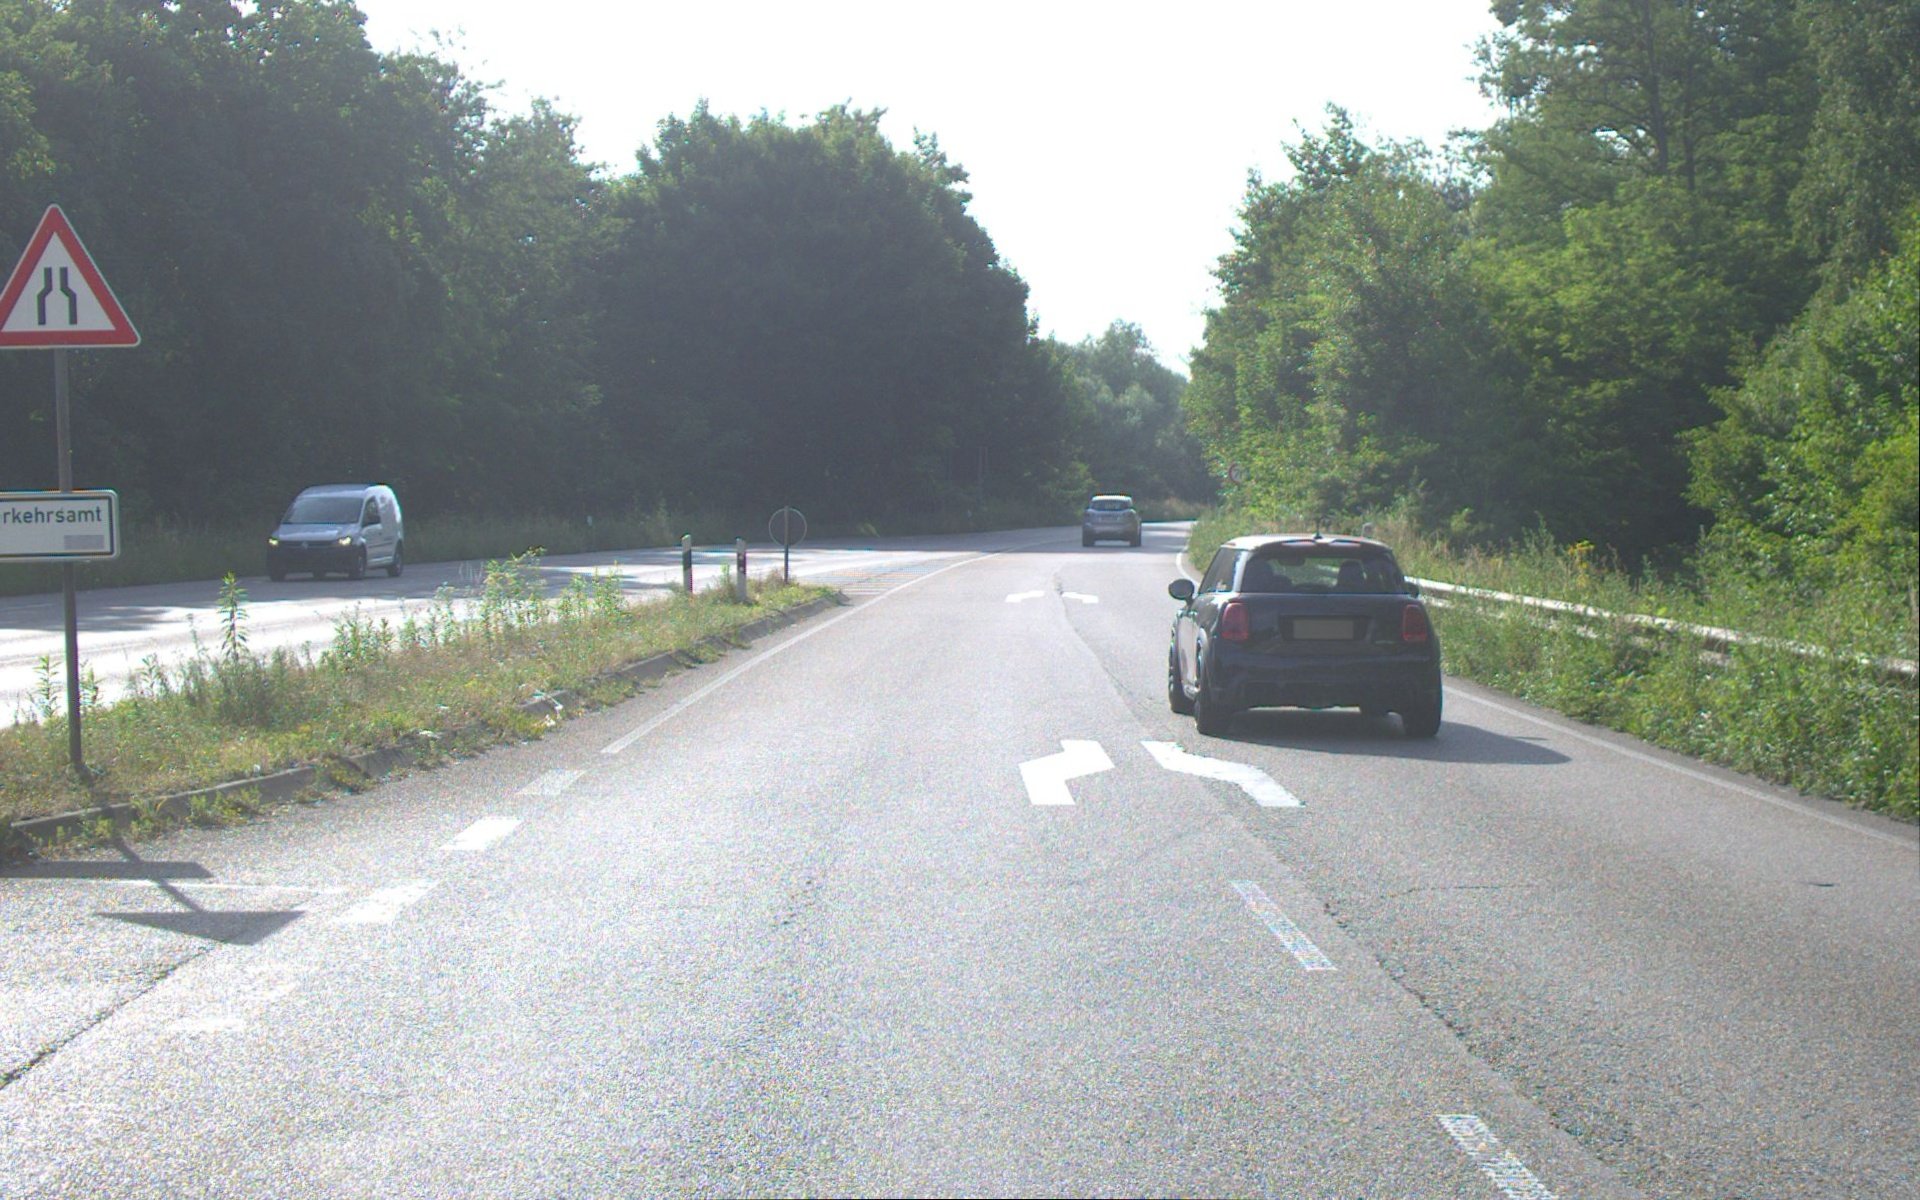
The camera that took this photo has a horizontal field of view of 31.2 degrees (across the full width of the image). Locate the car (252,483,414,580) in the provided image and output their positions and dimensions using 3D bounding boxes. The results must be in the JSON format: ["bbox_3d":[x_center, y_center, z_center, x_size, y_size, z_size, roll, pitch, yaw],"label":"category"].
[{"bbox_3d":[-12.038,-1.299,66.287,1.851,1.780,4.669,1,1,6],"label":"car"}]

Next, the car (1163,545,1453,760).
[{"bbox_3d":[2.524,0.350,25.744,1.819,1.463,3.873,1,0,1],"label":"car"}]

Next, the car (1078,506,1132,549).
[{"bbox_3d":[4.843,-2.392,114.671,1.761,1.375,3.971,1,1,3],"label":"car"}]
